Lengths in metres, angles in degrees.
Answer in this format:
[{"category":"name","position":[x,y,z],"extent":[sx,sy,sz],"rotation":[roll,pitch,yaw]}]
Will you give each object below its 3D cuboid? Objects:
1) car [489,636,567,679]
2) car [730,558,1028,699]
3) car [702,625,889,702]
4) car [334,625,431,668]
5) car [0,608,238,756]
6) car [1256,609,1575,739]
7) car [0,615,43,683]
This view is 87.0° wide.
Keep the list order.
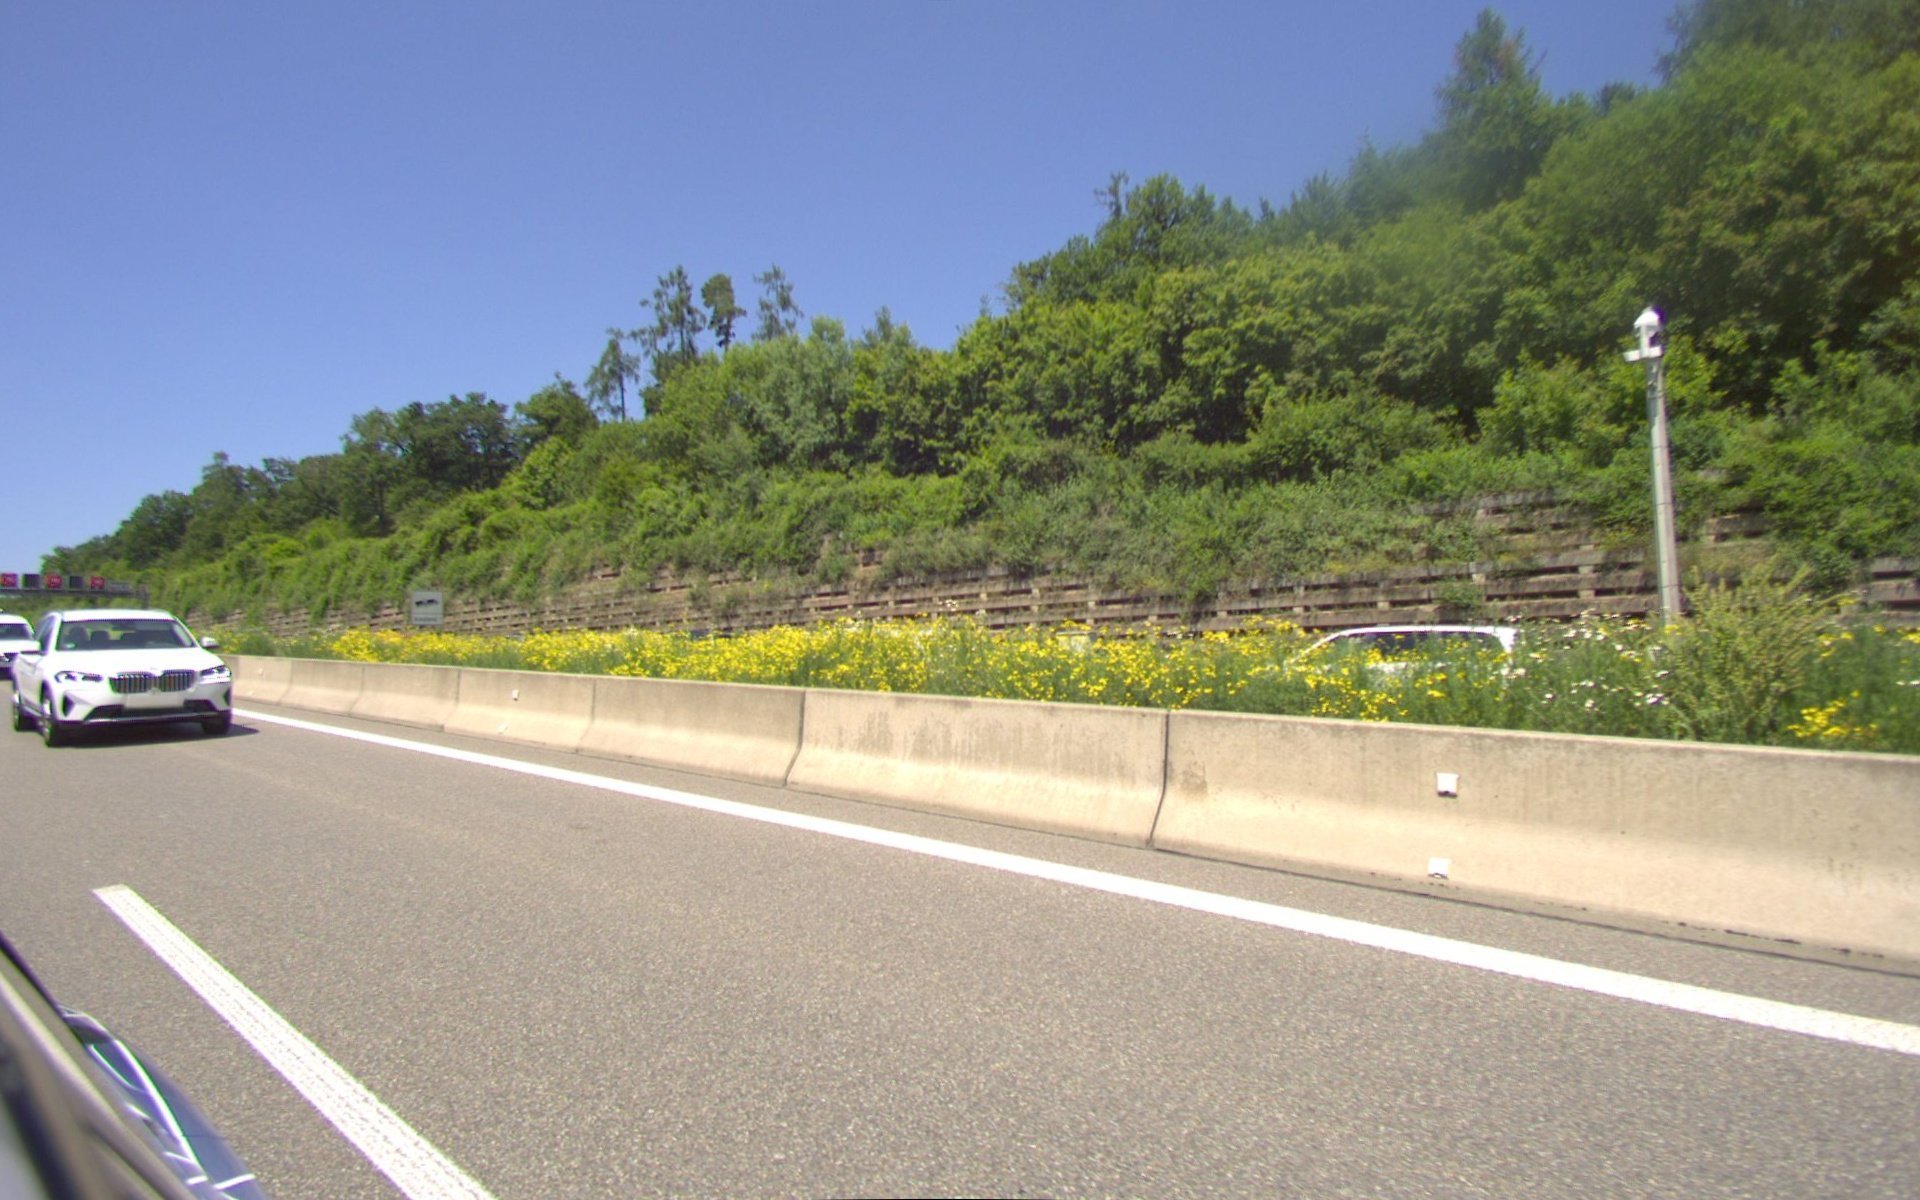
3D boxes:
[{"category":"car","position":[-16.194,2.135,37.894],"extent":[3.151,1.533,1.424],"rotation":[-2,-3,40]},{"category":"car","position":[-1.345,0.425,15.283],"extent":[4.500,1.821,1.871],"rotation":[-3,-1,42]},{"category":"car","position":[-3.637,1.329,22.046],"extent":[4.153,1.533,1.770],"rotation":[-2,-3,40]},{"category":"car","position":[-22.285,1.772,38.985],"extent":[4.582,1.533,1.770],"rotation":[-2,-3,40]},{"category":"car","position":[-11.450,0.980,13.648],"extent":[4.366,1.656,1.826],"rotation":[-1,-1,41]},{"category":"car","position":[7.442,1.095,16.834],"extent":[4.501,1.821,1.791],"rotation":[-1,1,43]},{"category":"car","position":[-27.522,1.414,28.573],"extent":[4.500,1.788,1.972],"rotation":[-3,-1,42]}]
